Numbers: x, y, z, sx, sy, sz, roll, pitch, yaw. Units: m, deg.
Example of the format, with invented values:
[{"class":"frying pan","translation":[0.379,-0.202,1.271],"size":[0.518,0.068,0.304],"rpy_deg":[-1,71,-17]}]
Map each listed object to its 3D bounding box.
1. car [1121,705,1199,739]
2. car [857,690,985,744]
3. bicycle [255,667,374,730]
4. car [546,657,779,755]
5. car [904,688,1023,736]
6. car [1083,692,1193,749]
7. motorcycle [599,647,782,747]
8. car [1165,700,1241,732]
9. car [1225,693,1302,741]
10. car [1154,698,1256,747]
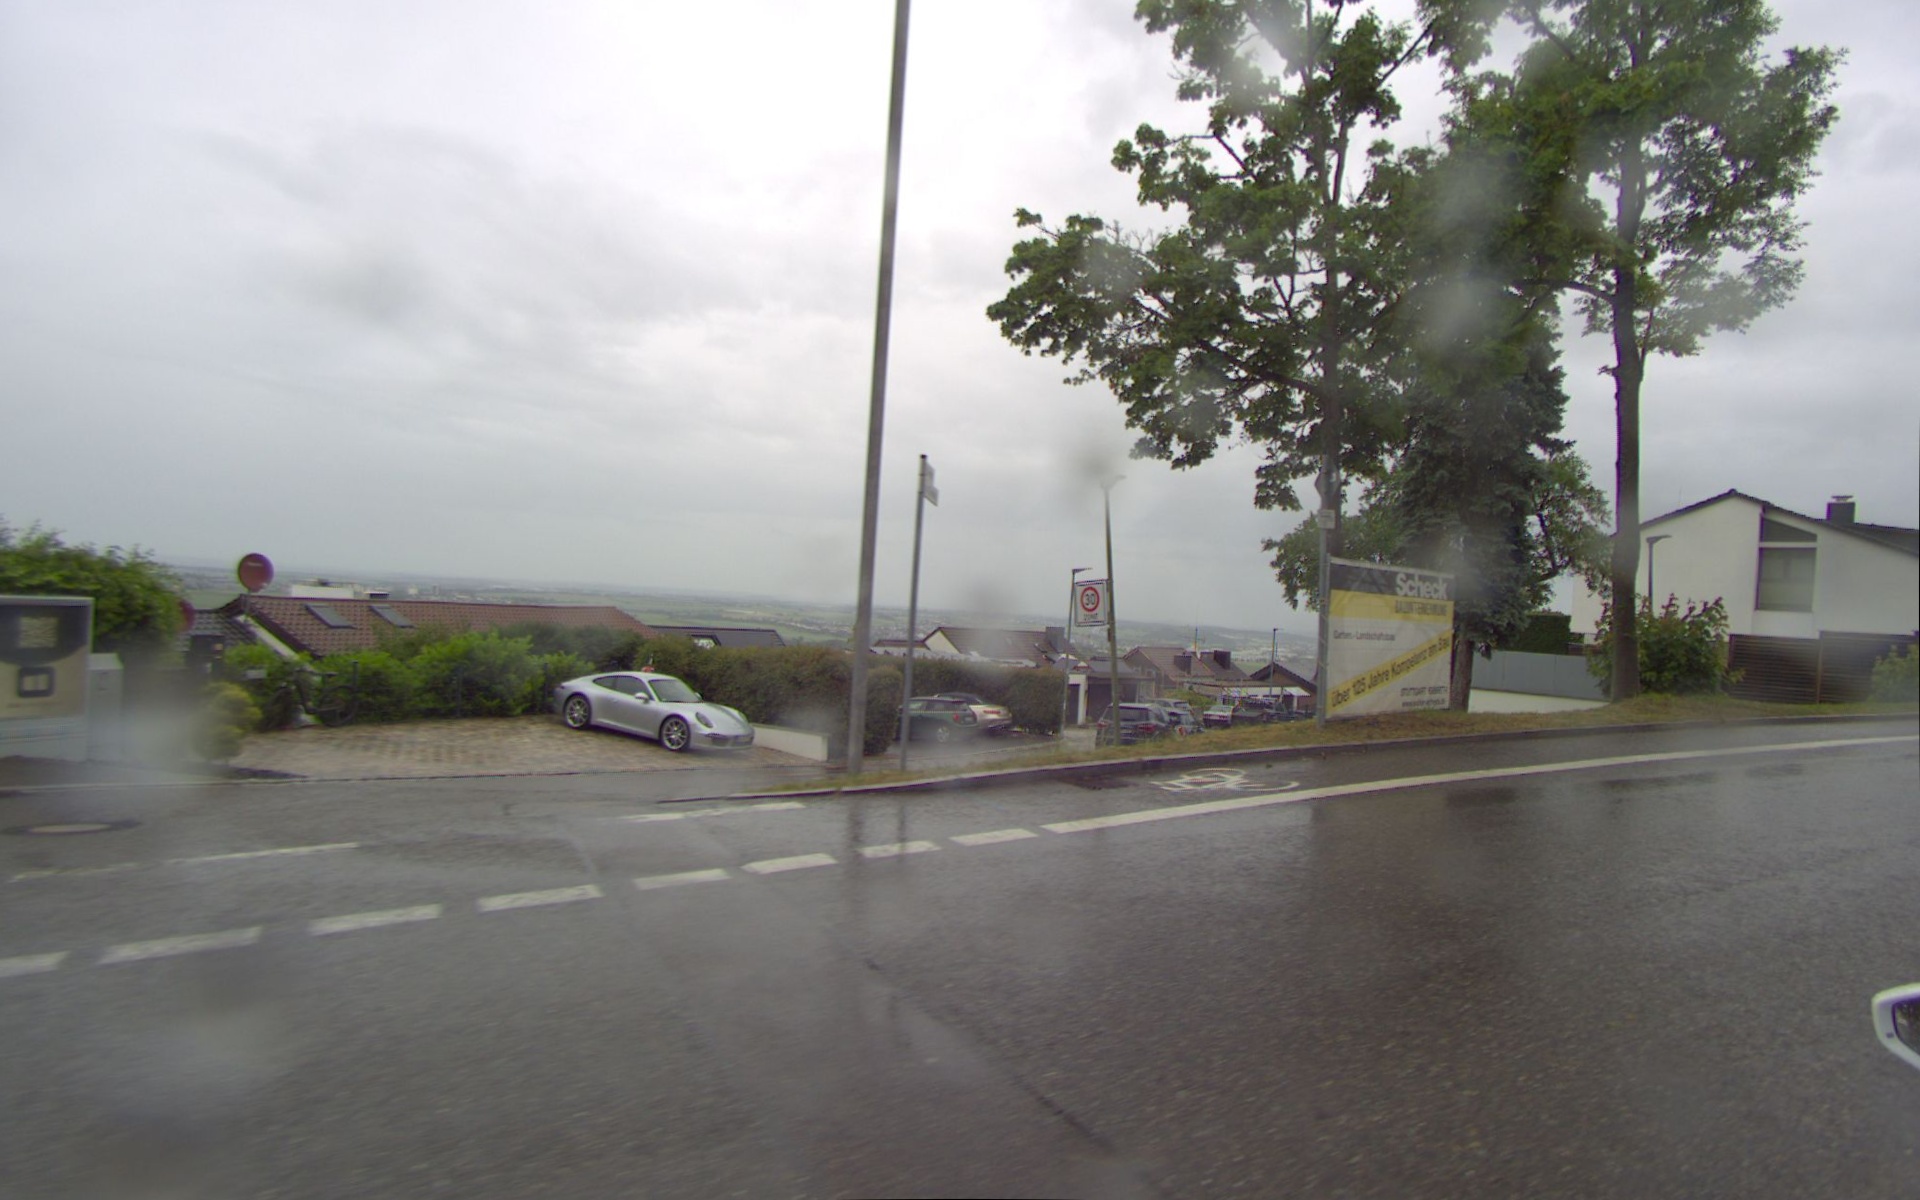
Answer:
[{"class":"car","translation":[10.807,6.603,54.503],"size":[1.787,1.658,3.961],"rpy_deg":[1,-6,-37]},{"class":"car","translation":[-1.322,3.869,33.602],"size":[3.931,1.435,1.880],"rpy_deg":[-1,-1,32]},{"class":"bicycle","translation":[-10.732,1.613,16.774],"size":[0.421,0.977,1.669],"rpy_deg":[1,-3,24]},{"class":"car","translation":[-6.005,2.107,20.295],"size":[4.164,1.268,1.788],"rpy_deg":[7,-3,21]},{"class":"car","translation":[0.105,4.008,36.380],"size":[3.931,1.375,1.880],"rpy_deg":[-1,-1,32]},{"class":"car","translation":[5.118,3.393,28.469],"size":[1.851,1.434,3.996],"rpy_deg":[0,-6,29]},{"class":"motorcycle","translation":[-5.895,2.056,21.880],"size":[3.802,1.282,1.217],"rpy_deg":[10,6,22]},{"class":"car","translation":[13.788,6.611,57.165],"size":[1.787,1.658,3.961],"rpy_deg":[1,-6,-37]},{"class":"car","translation":[14.363,5.514,47.389],"size":[1.971,2.039,3.982],"rpy_deg":[-2,-6,41]},{"class":"car","translation":[7.957,3.960,32.362],"size":[2.125,1.367,4.276],"rpy_deg":[0,-7,29]}]
